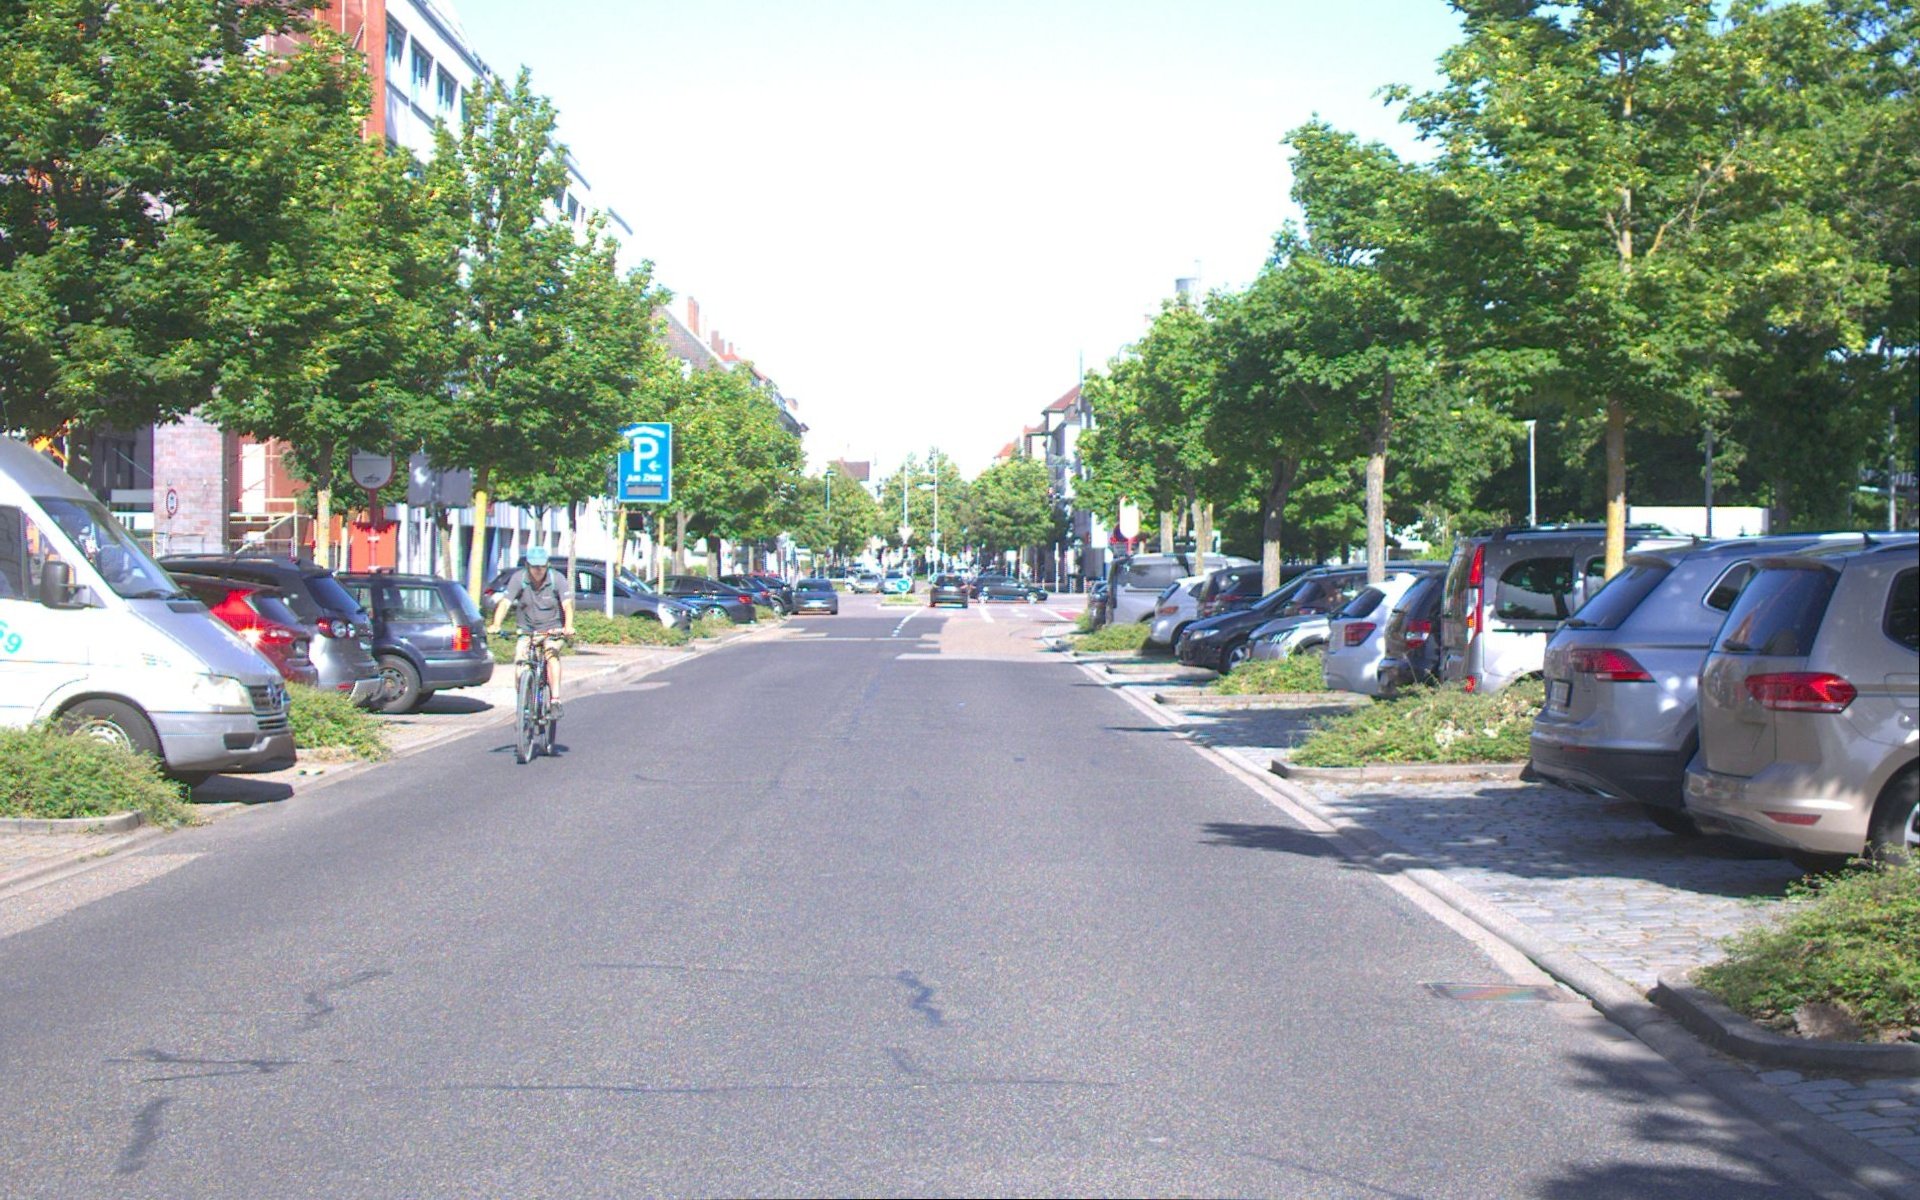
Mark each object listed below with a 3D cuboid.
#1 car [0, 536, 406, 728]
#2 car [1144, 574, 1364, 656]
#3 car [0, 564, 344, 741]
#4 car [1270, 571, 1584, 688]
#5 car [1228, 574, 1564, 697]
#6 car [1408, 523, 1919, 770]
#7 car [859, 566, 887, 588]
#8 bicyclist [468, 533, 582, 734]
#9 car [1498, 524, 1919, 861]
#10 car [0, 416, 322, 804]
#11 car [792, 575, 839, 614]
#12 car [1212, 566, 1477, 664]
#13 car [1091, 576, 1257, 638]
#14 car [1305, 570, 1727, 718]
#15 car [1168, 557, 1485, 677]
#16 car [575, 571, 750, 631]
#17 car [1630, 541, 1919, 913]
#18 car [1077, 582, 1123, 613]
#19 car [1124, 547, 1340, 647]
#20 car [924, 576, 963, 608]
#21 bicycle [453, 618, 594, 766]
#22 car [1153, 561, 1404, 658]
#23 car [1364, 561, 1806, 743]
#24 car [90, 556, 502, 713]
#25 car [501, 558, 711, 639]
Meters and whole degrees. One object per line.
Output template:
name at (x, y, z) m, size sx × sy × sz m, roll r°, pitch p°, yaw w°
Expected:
car at (-7.486, 0.279, 32.823) m, size 3.987 × 1.658 × 1.828 m, roll 2°, pitch 0°, yaw 3°
car at (5.245, 0.260, 61.663) m, size 3.766 × 1.454 × 1.818 m, roll 0°, pitch 0°, yaw 0°
car at (-7.630, 0.441, 30.482) m, size 3.987 × 1.512 × 1.855 m, roll 0°, pitch 0°, yaw 1°
car at (6.104, 0.370, 45.184) m, size 3.861 × 1.499 × 1.652 m, roll 0°, pitch 1°, yaw -2°
car at (5.341, 0.425, 42.438) m, size 3.900 × 1.481 × 1.743 m, roll 0°, pitch 1°, yaw -1°
car at (5.885, 0.346, 28.140) m, size 4.118 × 1.921 × 1.979 m, roll 0°, pitch 2°, yaw -2°
car at (-6.175, -1.624, 244.609) m, size 1.812 × 1.469 × 4.111 m, roll 0°, pitch 1°, yaw 1°
bicyclist at (-3.493, 0.258, 27.667) m, size 0.683 × 1.575 × 1.061 m, roll -1°, pitch 0°, yaw 4°
car at (5.012, 0.448, 18.462) m, size 3.899 × 1.689 × 1.941 m, roll 0°, pitch 2°, yaw -2°
car at (-7.246, -0.016, 22.851) m, size 5.551 × 2.401 × 1.988 m, roll 2°, pitch 1°, yaw 2°
car at (-5.867, -0.235, 139.453) m, size 1.811 × 1.469 × 4.111 m, roll 0°, pitch 1°, yaw -1°
car at (6.031, 0.236, 54.247) m, size 3.987 × 1.533 × 1.861 m, roll 0°, pitch 0°, yaw 1°
car at (5.121, 0.175, 82.143) m, size 3.913 × 1.470 × 1.757 m, roll 0°, pitch -1°, yaw 4°
car at (5.665, 0.440, 35.391) m, size 4.062 × 1.421 × 1.742 m, roll -1°, pitch 0°, yaw 1°
car at (5.025, 0.216, 47.485) m, size 4.144 × 1.574 × 1.741 m, roll -1°, pitch 1°, yaw -1°
car at (-7.483, 0.012, 86.718) m, size 4.330 × 1.469 × 1.818 m, roll 0°, pitch 1°, yaw -3°
car at (5.484, 0.523, 15.932) m, size 4.319 × 1.602 × 1.912 m, roll -1°, pitch 1°, yaw -3°
car at (6.899, -0.136, 169.868) m, size 1.989 × 1.469 × 4.111 m, roll 0°, pitch 1°, yaw -2°
car at (5.168, -0.064, 65.644) m, size 3.987 × 1.873 × 1.682 m, roll 0°, pitch 1°, yaw 1°
car at (-0.763, -0.393, 166.043) m, size 1.812 × 1.469 × 4.111 m, roll 0°, pitch 1°, yaw 1°
bicycle at (-3.487, 0.716, 27.616) m, size 0.698 × 1.107 × 2.079 m, roll -1°, pitch 0°, yaw 4°
car at (5.245, 0.158, 57.023) m, size 3.987 × 1.576 × 2.031 m, roll 0°, pitch 0°, yaw 1°
car at (5.547, 0.443, 30.796) m, size 3.605 × 1.544 × 1.707 m, roll 0°, pitch 2°, yaw -2°
car at (-7.148, 0.359, 37.306) m, size 4.129 × 1.487 × 1.869 m, roll 2°, pitch 2°, yaw -3°
car at (-7.380, -0.034, 71.926) m, size 4.261 × 1.660 × 1.599 m, roll 0°, pitch 1°, yaw -1°
